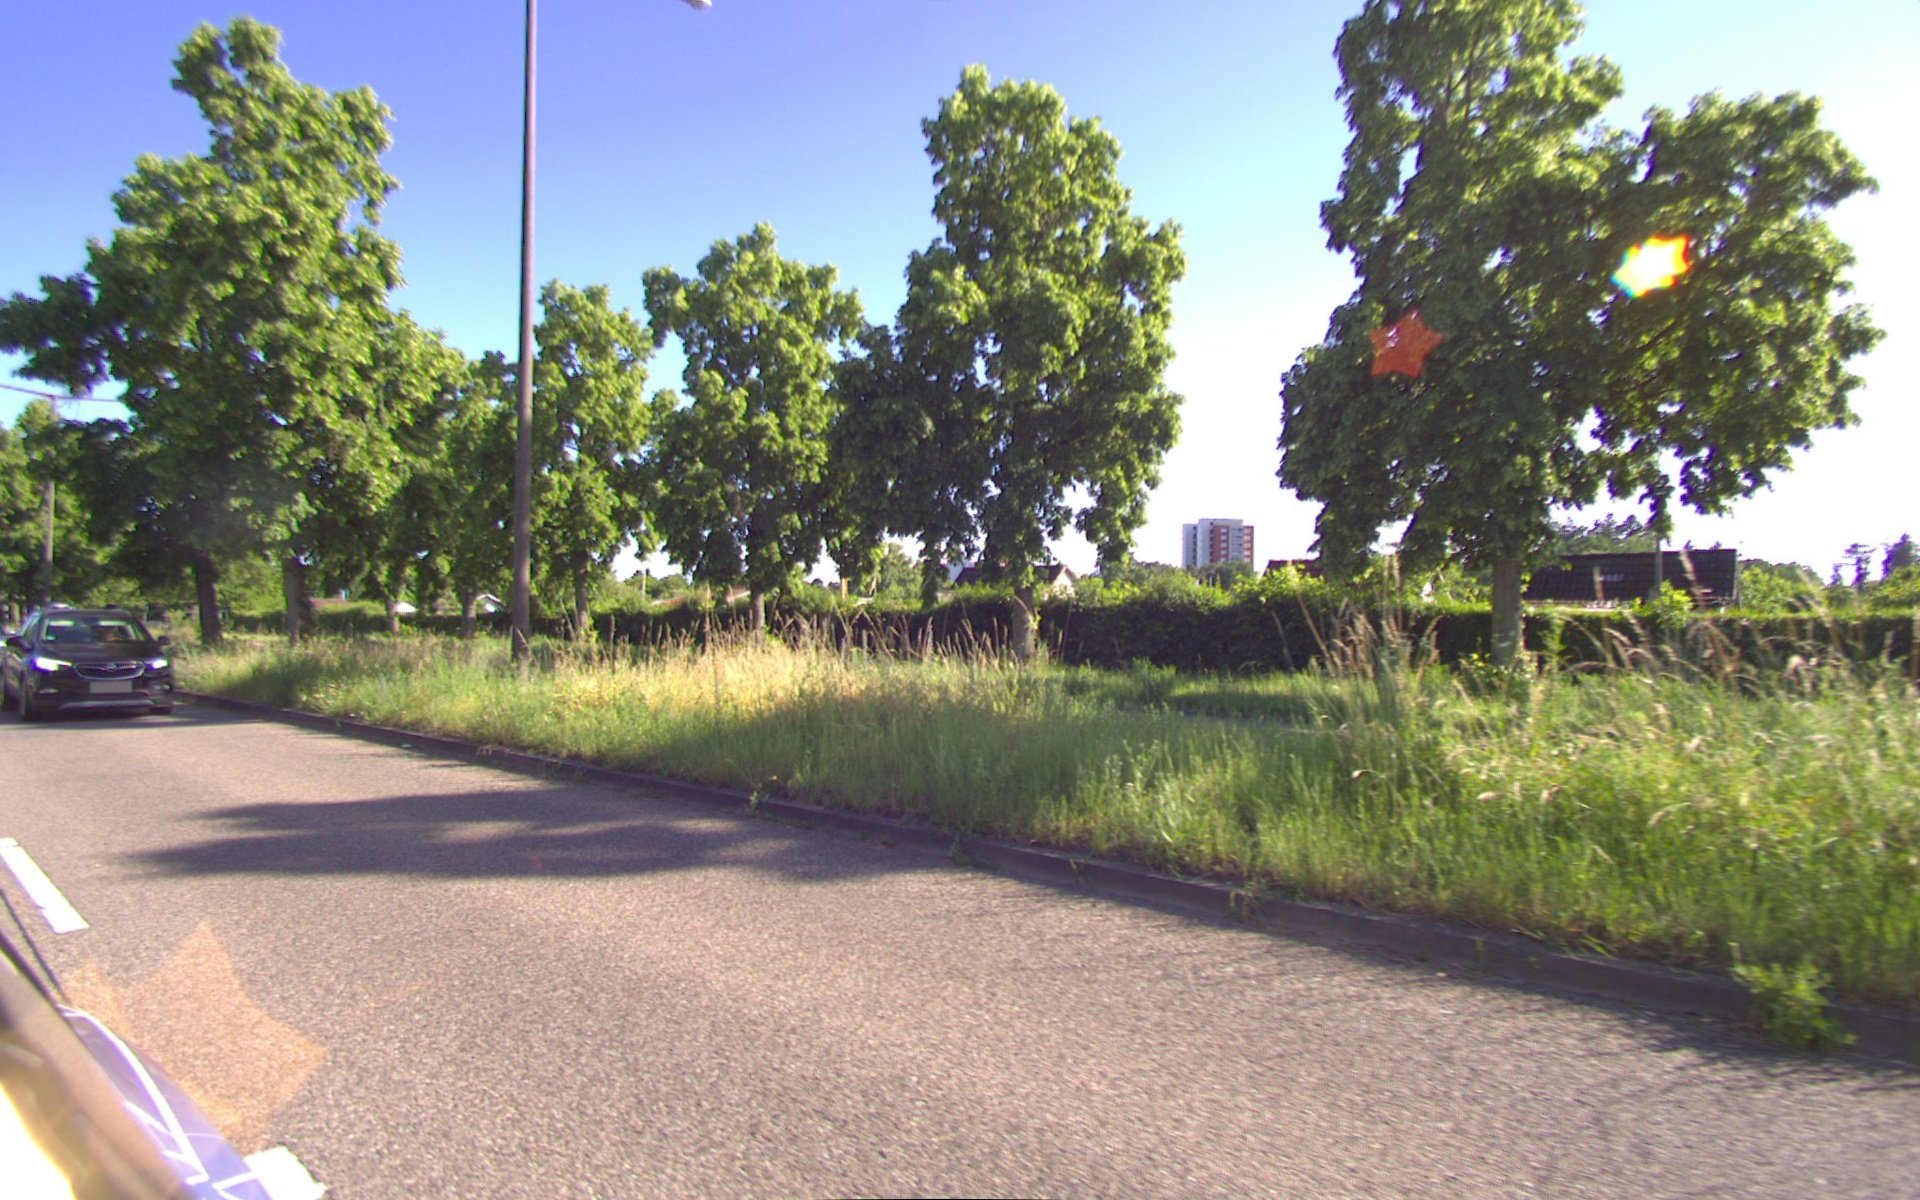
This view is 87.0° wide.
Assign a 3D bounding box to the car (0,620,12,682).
[{"bbox_3d":[-27.308,1.372,27.489,4.089,1.626,1.807,-1,-2,40],"label":"car"}]

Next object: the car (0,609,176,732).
[{"bbox_3d":[-13.779,1.023,15.826,3.854,1.675,1.691,-1,-2,41],"label":"car"}]
